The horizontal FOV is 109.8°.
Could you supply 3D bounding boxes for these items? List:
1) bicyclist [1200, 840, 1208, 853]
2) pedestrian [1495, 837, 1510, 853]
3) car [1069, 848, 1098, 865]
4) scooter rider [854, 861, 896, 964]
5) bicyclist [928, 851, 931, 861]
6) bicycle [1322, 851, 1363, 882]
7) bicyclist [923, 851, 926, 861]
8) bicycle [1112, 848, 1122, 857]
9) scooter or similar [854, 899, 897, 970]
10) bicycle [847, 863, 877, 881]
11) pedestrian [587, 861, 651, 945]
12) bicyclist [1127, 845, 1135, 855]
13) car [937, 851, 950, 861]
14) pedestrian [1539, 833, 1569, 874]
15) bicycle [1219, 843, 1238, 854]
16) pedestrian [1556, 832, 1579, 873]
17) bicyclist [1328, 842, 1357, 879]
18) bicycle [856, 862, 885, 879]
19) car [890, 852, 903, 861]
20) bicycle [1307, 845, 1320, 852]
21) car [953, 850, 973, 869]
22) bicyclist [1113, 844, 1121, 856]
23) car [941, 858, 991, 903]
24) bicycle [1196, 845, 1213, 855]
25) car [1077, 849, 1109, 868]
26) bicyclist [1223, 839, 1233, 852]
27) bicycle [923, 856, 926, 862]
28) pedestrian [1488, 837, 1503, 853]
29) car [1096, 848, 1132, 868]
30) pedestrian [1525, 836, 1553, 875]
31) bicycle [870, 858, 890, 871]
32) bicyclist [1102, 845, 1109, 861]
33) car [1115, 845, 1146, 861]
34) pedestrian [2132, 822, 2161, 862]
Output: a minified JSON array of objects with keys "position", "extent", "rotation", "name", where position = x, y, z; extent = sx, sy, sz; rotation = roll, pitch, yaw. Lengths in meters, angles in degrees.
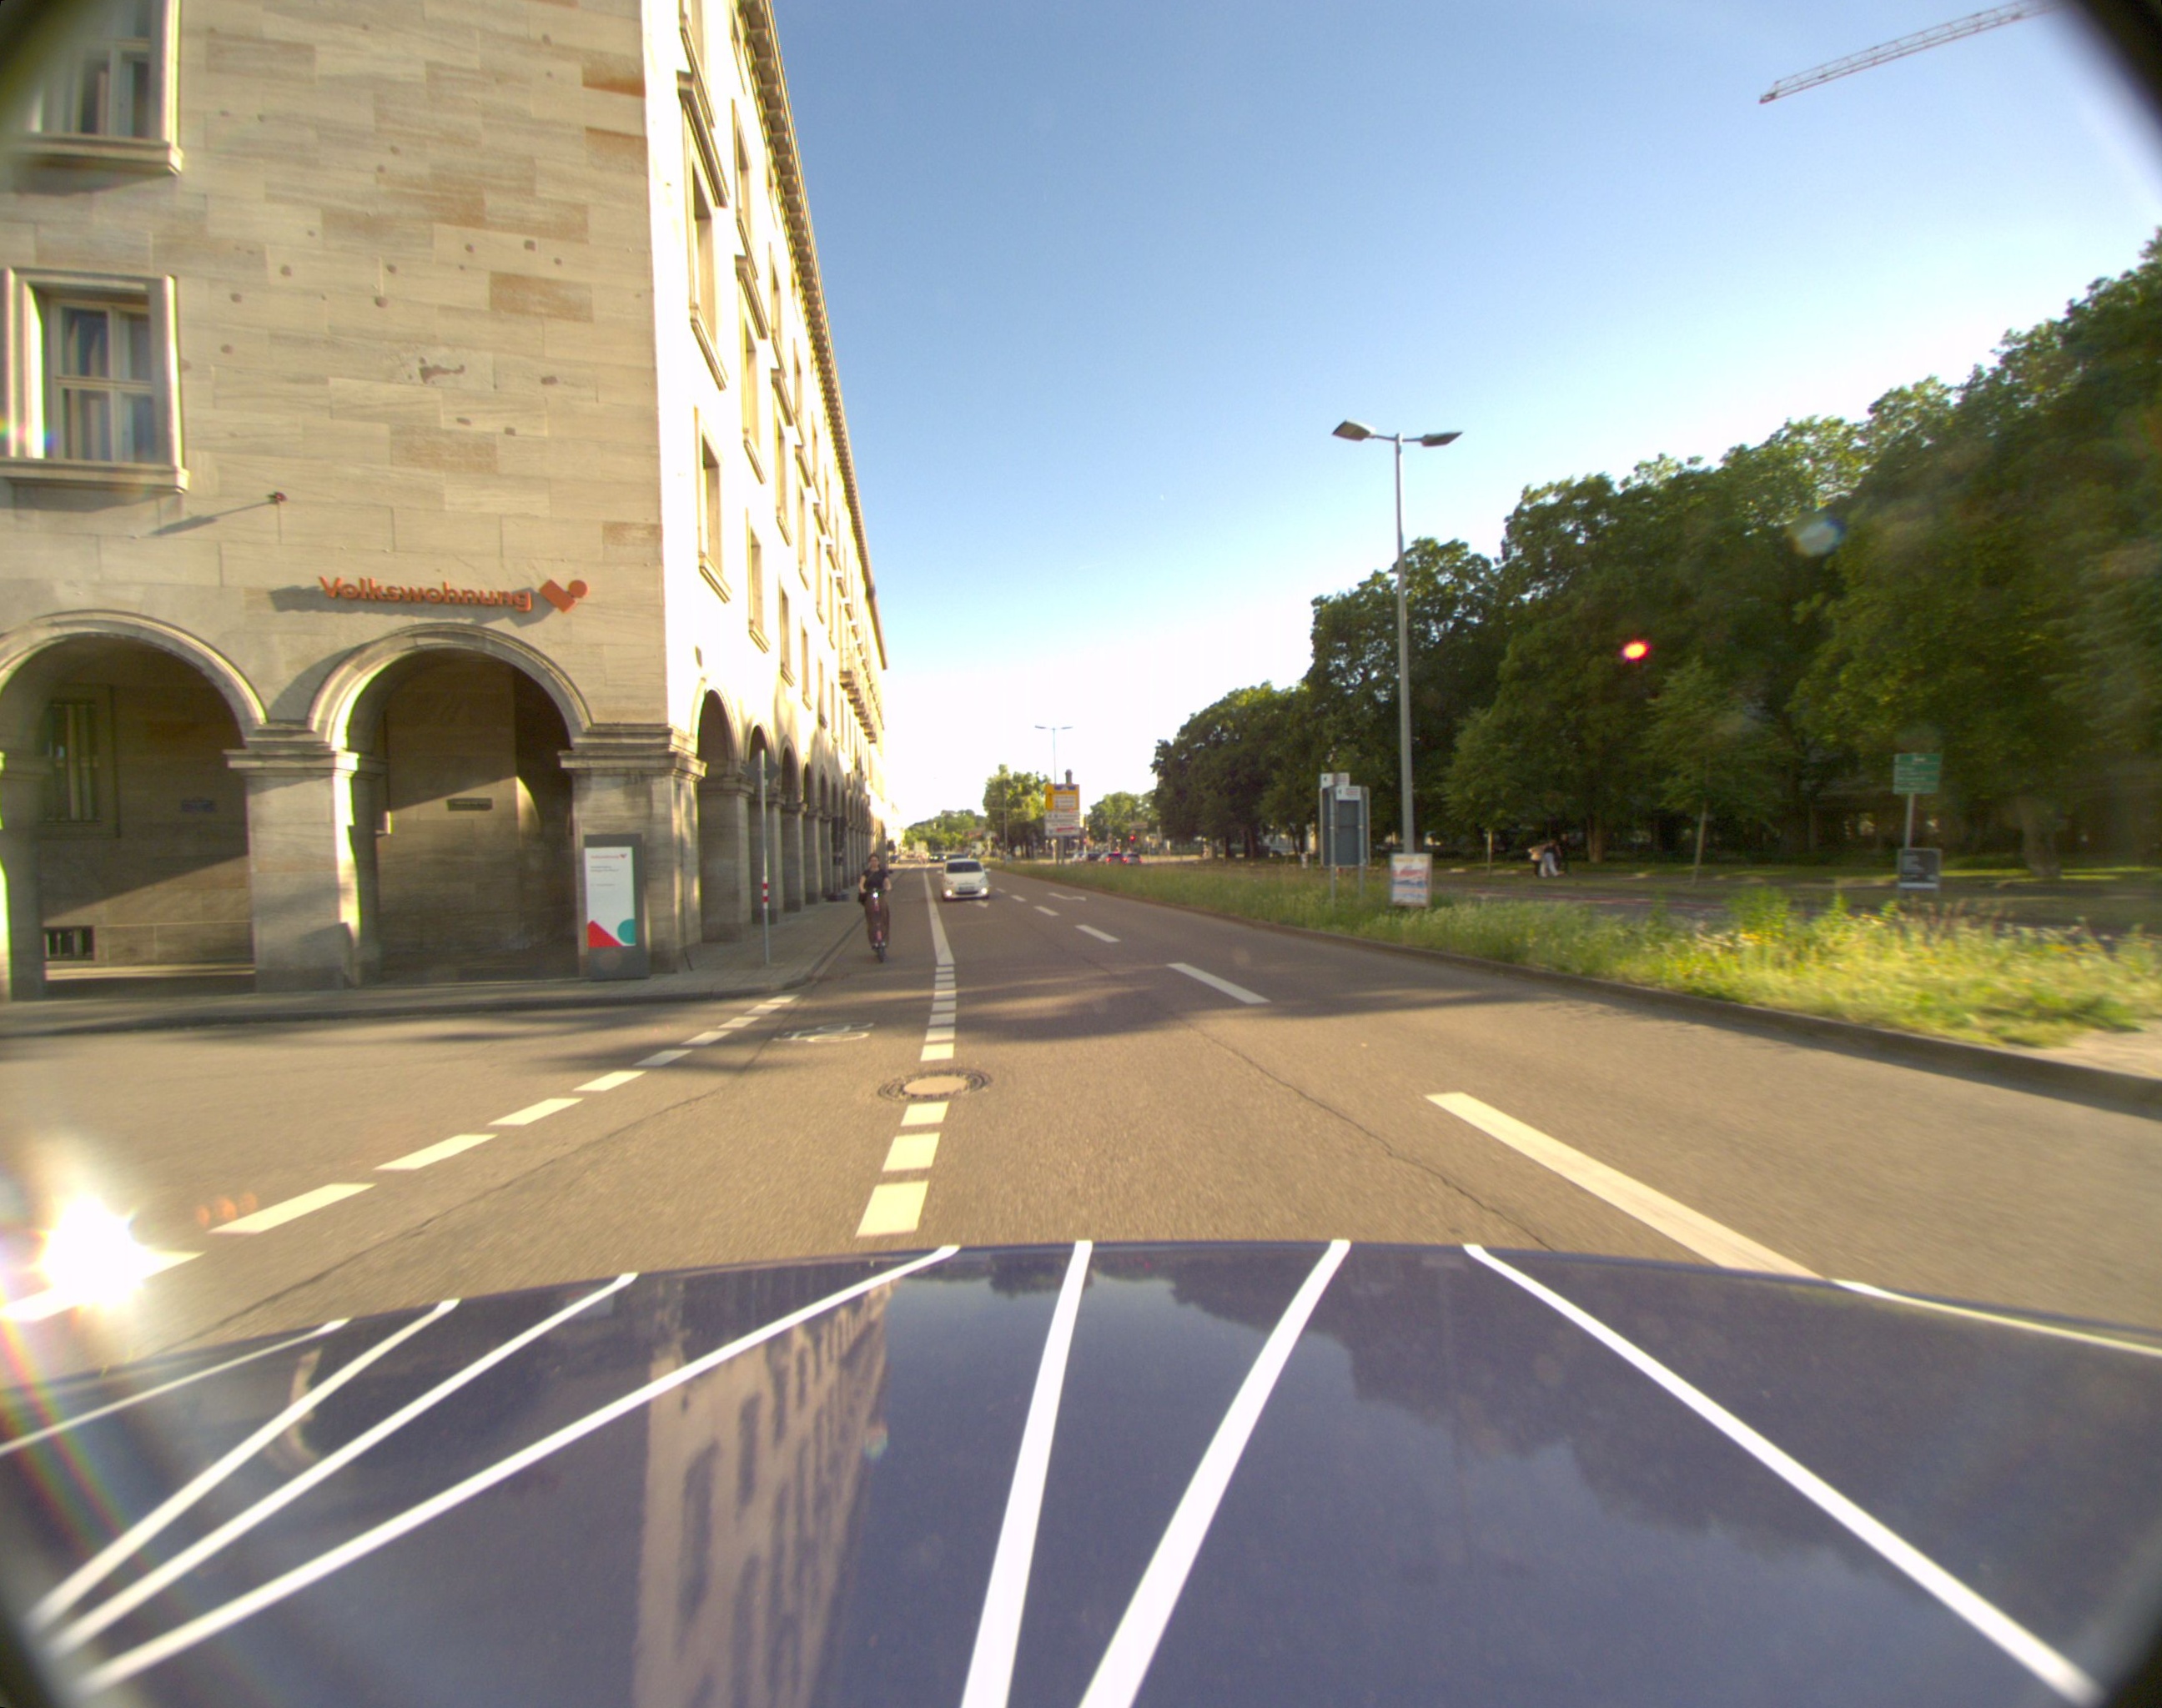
[{"position":[15.603,-0.957,96.511],"extent":[0.839,1.734,0.753],"rotation":[-1,3,-12],"name":"bicyclist"},{"position":[35.057,-0.721,63.251],"extent":[0.829,1.332,0.715],"rotation":[-2,1,-9],"name":"pedestrian"},{"position":[0.224,0.224,77.163],"extent":[2.000,1.552,4.544],"rotation":[-2,1,-11],"name":"car"},{"position":[-3.397,0.937,12.491],"extent":[0.563,1.622,0.649],"rotation":[-2,1,-21],"name":"scooter rider"},{"position":[-24.276,0.289,121.426],"extent":[0.454,1.567,0.535],"rotation":[-2,1,-11],"name":"bicyclist"},{"position":[11.596,0.521,33.790],"extent":[0.760,1.268,2.255],"rotation":[-1,2,-9],"name":"bicycle"},{"position":[-24.942,0.286,121.138],"extent":[0.358,1.567,0.535],"rotation":[-2,1,-11],"name":"bicyclist"},{"position":[5.040,-0.242,105.369],"extent":[0.844,1.223,2.017],"rotation":[-1,1,18],"name":"bicycle"},{"position":[-3.376,1.292,12.452],"extent":[0.557,1.025,1.115],"rotation":[-2,1,-20],"name":"scooter or similar"},{"position":[-13.163,1.056,45.719],"extent":[0.610,1.044,1.717],"rotation":[1,1,32],"name":"bicycle"},{"position":[-9.024,0.931,14.885],"extent":[0.779,1.560,0.951],"rotation":[-2,1,-13],"name":"pedestrian"},{"position":[7.315,-0.619,111.274],"extent":[0.973,1.354,0.826],"rotation":[-1,1,-7],"name":"bicyclist"},{"position":[-22.317,0.287,123.465],"extent":[2.000,1.564,4.544],"rotation":[-2,1,-11],"name":"car"},{"position":[20.413,-0.034,32.779],"extent":[0.774,1.730,0.760],"rotation":[-2,1,-8],"name":"pedestrian"},{"position":[18.774,-0.695,96.801],"extent":[2.313,1.233,0.777],"rotation":[-1,3,-11],"name":"bicycle"},{"position":[21.104,-0.073,32.935],"extent":[0.525,1.730,0.654],"rotation":[-2,1,-8],"name":"pedestrian"},{"position":[11.588,0.280,33.676],"extent":[0.749,1.582,1.200],"rotation":[-1,3,-9],"name":"bicyclist"},{"position":[-13.220,1.019,47.694],"extent":[1.716,1.044,0.526],"rotation":[0,1,-26],"name":"bicycle"},{"position":[-34.100,0.367,140.579],"extent":[2.000,1.564,4.544],"rotation":[-2,1,-11],"name":"car"},{"position":[30.154,-0.661,98.507],"extent":[0.771,0.884,1.603],"rotation":[-2,1,-20],"name":"bicycle"},{"position":[-11.259,0.519,72.375],"extent":[1.735,1.629,3.996],"rotation":[-3,1,-10],"name":"car"},{"position":[5.017,-0.528,105.324],"extent":[0.850,1.610,0.974],"rotation":[-1,1,18],"name":"bicyclist"},{"position":[-4.327,0.930,28.316],"extent":[1.680,1.456,3.761],"rotation":[-3,1,-10],"name":"car"},{"position":[15.670,-0.476,96.548],"extent":[2.021,1.233,0.777],"rotation":[-1,3,-12],"name":"bicycle"},{"position":[1.082,0.422,70.296],"extent":[2.000,1.666,4.544],"rotation":[-2,1,-11],"name":"car"},{"position":[18.740,-1.067,96.769],"extent":[0.925,1.681,0.774],"rotation":[-2,3,-12],"name":"bicyclist"},{"position":[-24.931,0.773,121.151],"extent":[0.352,0.869,1.383],"rotation":[-2,1,-11],"name":"bicycle"},{"position":[34.895,-0.728,63.955],"extent":[0.908,1.332,0.664],"rotation":[-2,1,-9],"name":"pedestrian"},{"position":[2.706,0.312,63.287],"extent":[2.000,1.555,4.056],"rotation":[-2,1,-11],"name":"car"},{"position":[19.736,0.057,32.763],"extent":[0.744,1.631,0.725],"rotation":[-2,1,-8],"name":"pedestrian"},{"position":[-17.699,0.898,66.888],"extent":[1.708,1.126,0.665],"rotation":[0,1,29],"name":"bicycle"},{"position":[2.568,-0.066,79.488],"extent":[0.783,1.669,0.839],"rotation":[0,1,3],"name":"bicyclist"},{"position":[4.934,-0.093,76.515],"extent":[1.940,1.517,4.582],"rotation":[-2,1,-11],"name":"car"},{"position":[41.914,-0.462,29.599],"extent":[0.905,1.531,0.893],"rotation":[-2,1,-18],"name":"pedestrian"}]
